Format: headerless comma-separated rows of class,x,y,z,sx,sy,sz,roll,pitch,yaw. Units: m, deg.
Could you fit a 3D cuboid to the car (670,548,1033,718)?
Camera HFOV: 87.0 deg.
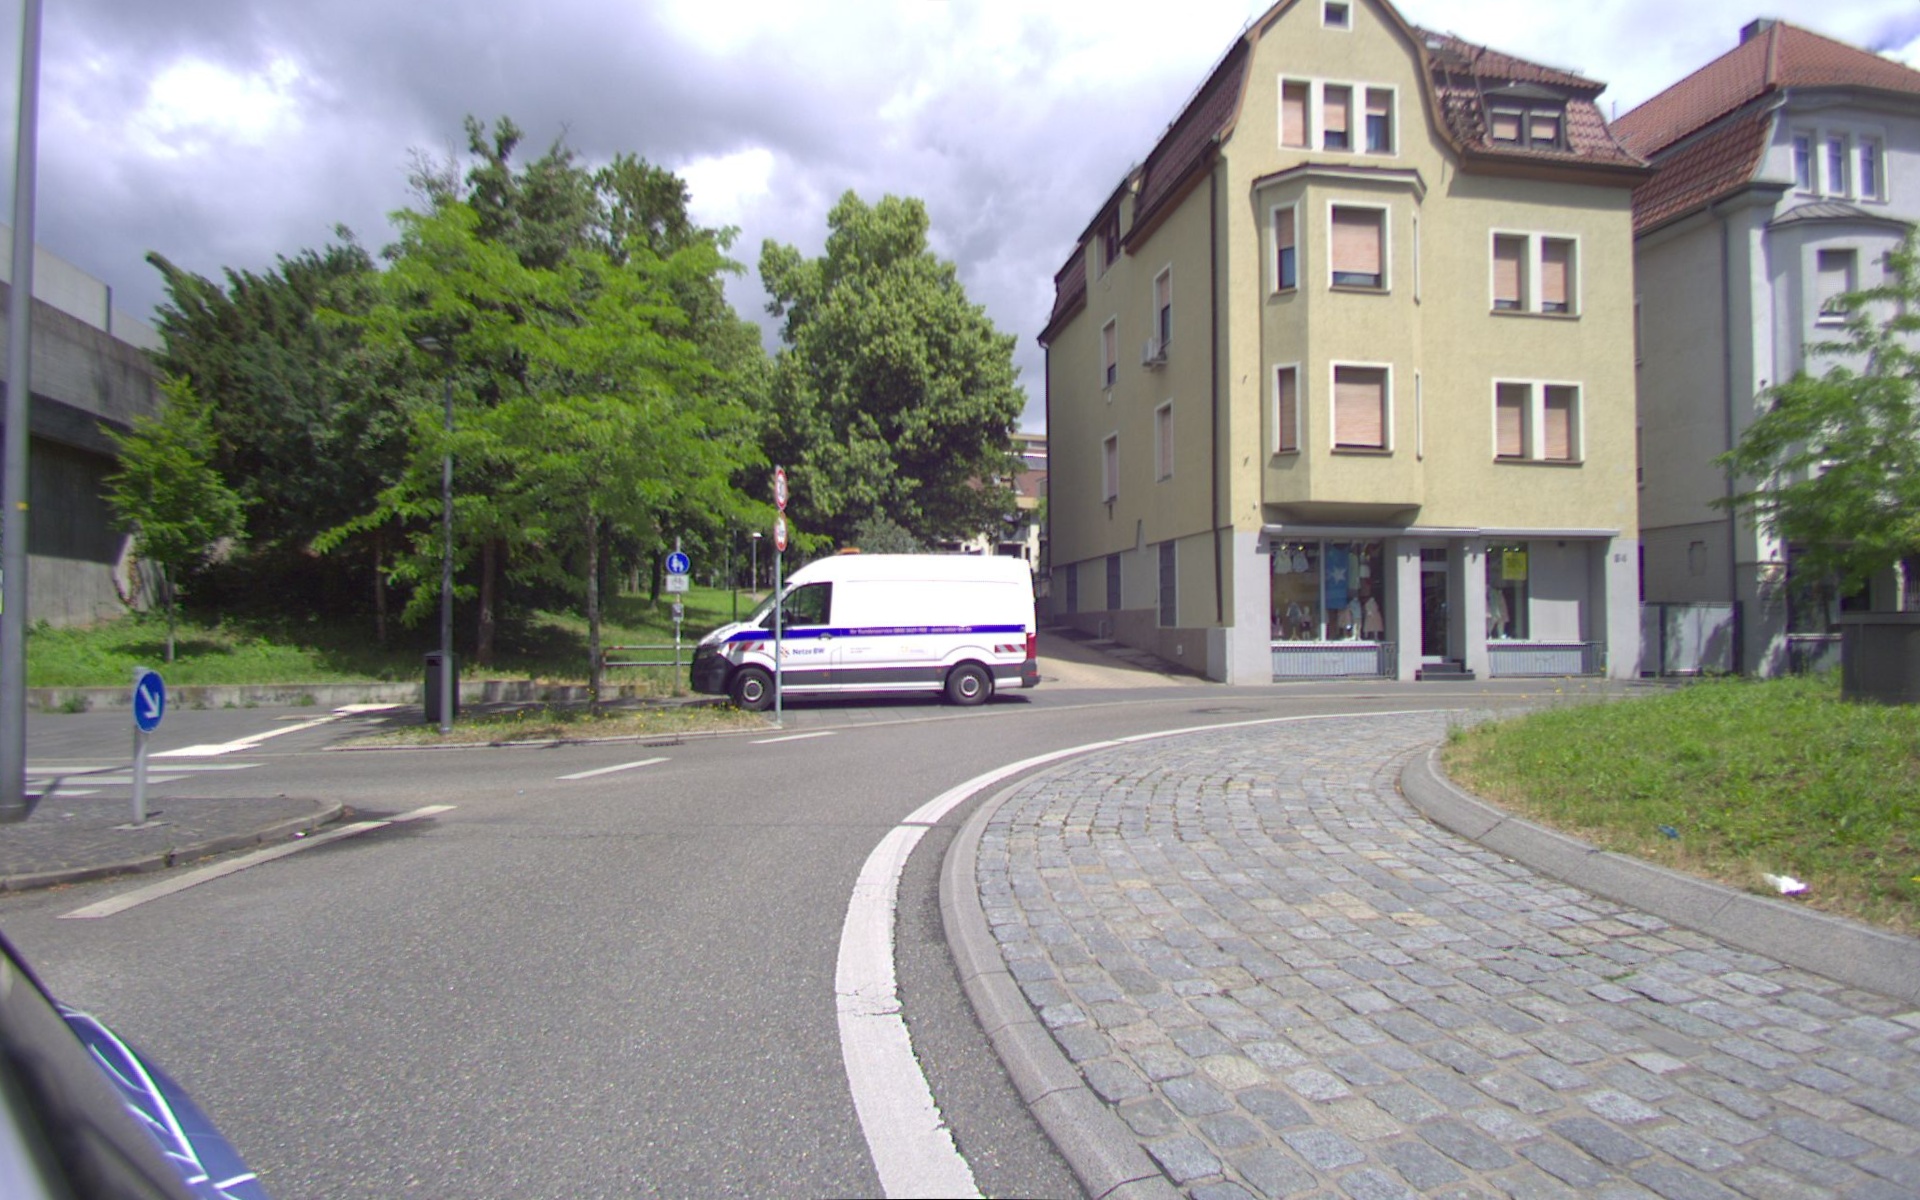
car,-1.867,0.484,17.287,5.831,2.626,1.979,-1,0,-13
